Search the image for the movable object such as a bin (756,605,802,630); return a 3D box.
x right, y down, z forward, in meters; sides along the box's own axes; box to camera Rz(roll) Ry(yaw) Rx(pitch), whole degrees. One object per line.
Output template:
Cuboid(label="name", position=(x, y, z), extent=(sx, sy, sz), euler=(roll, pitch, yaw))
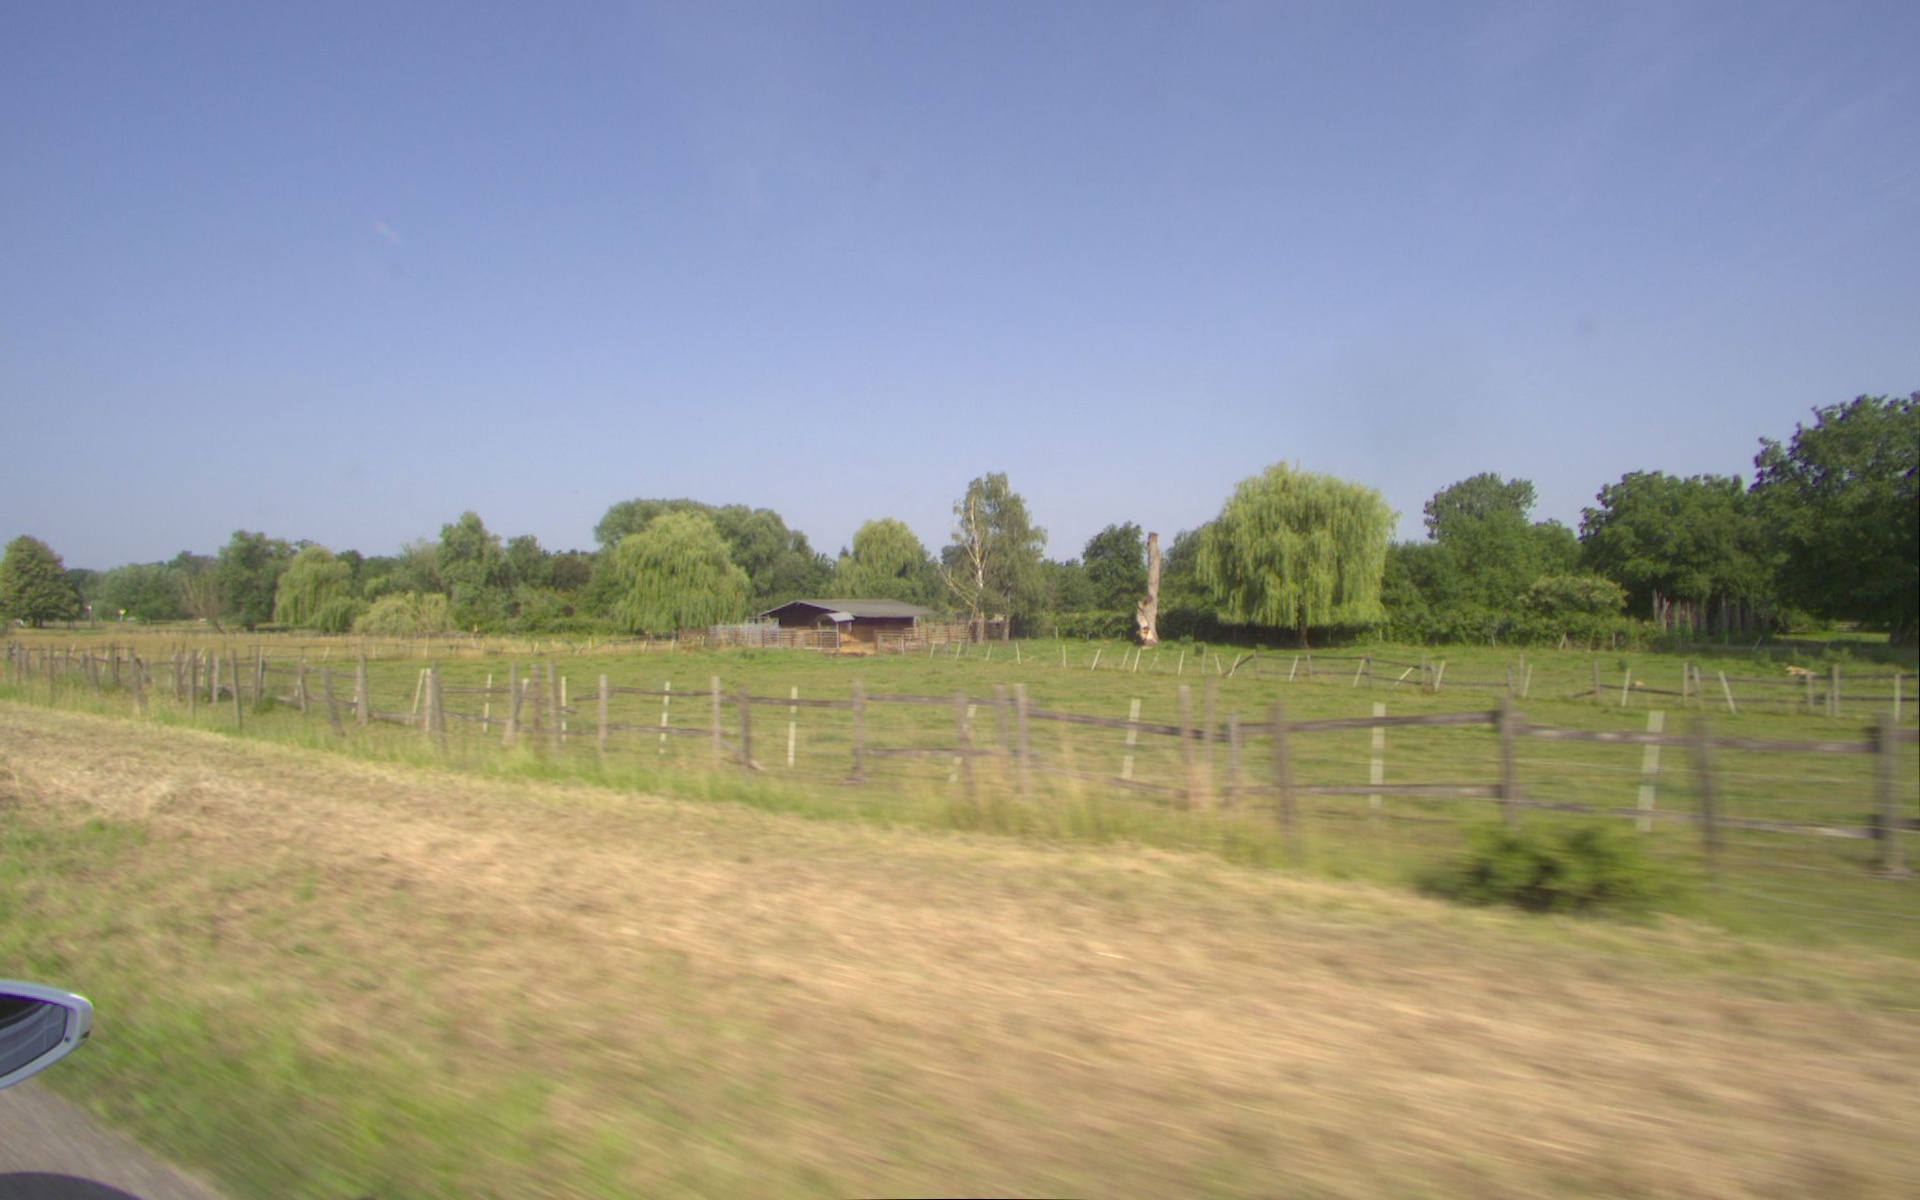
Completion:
Cuboid(label="movable object such as a bin", position=(-16.513, 1.597, 91.319), extent=(4.116, 2.222, 1.984), euler=(-1, -1, 42))
